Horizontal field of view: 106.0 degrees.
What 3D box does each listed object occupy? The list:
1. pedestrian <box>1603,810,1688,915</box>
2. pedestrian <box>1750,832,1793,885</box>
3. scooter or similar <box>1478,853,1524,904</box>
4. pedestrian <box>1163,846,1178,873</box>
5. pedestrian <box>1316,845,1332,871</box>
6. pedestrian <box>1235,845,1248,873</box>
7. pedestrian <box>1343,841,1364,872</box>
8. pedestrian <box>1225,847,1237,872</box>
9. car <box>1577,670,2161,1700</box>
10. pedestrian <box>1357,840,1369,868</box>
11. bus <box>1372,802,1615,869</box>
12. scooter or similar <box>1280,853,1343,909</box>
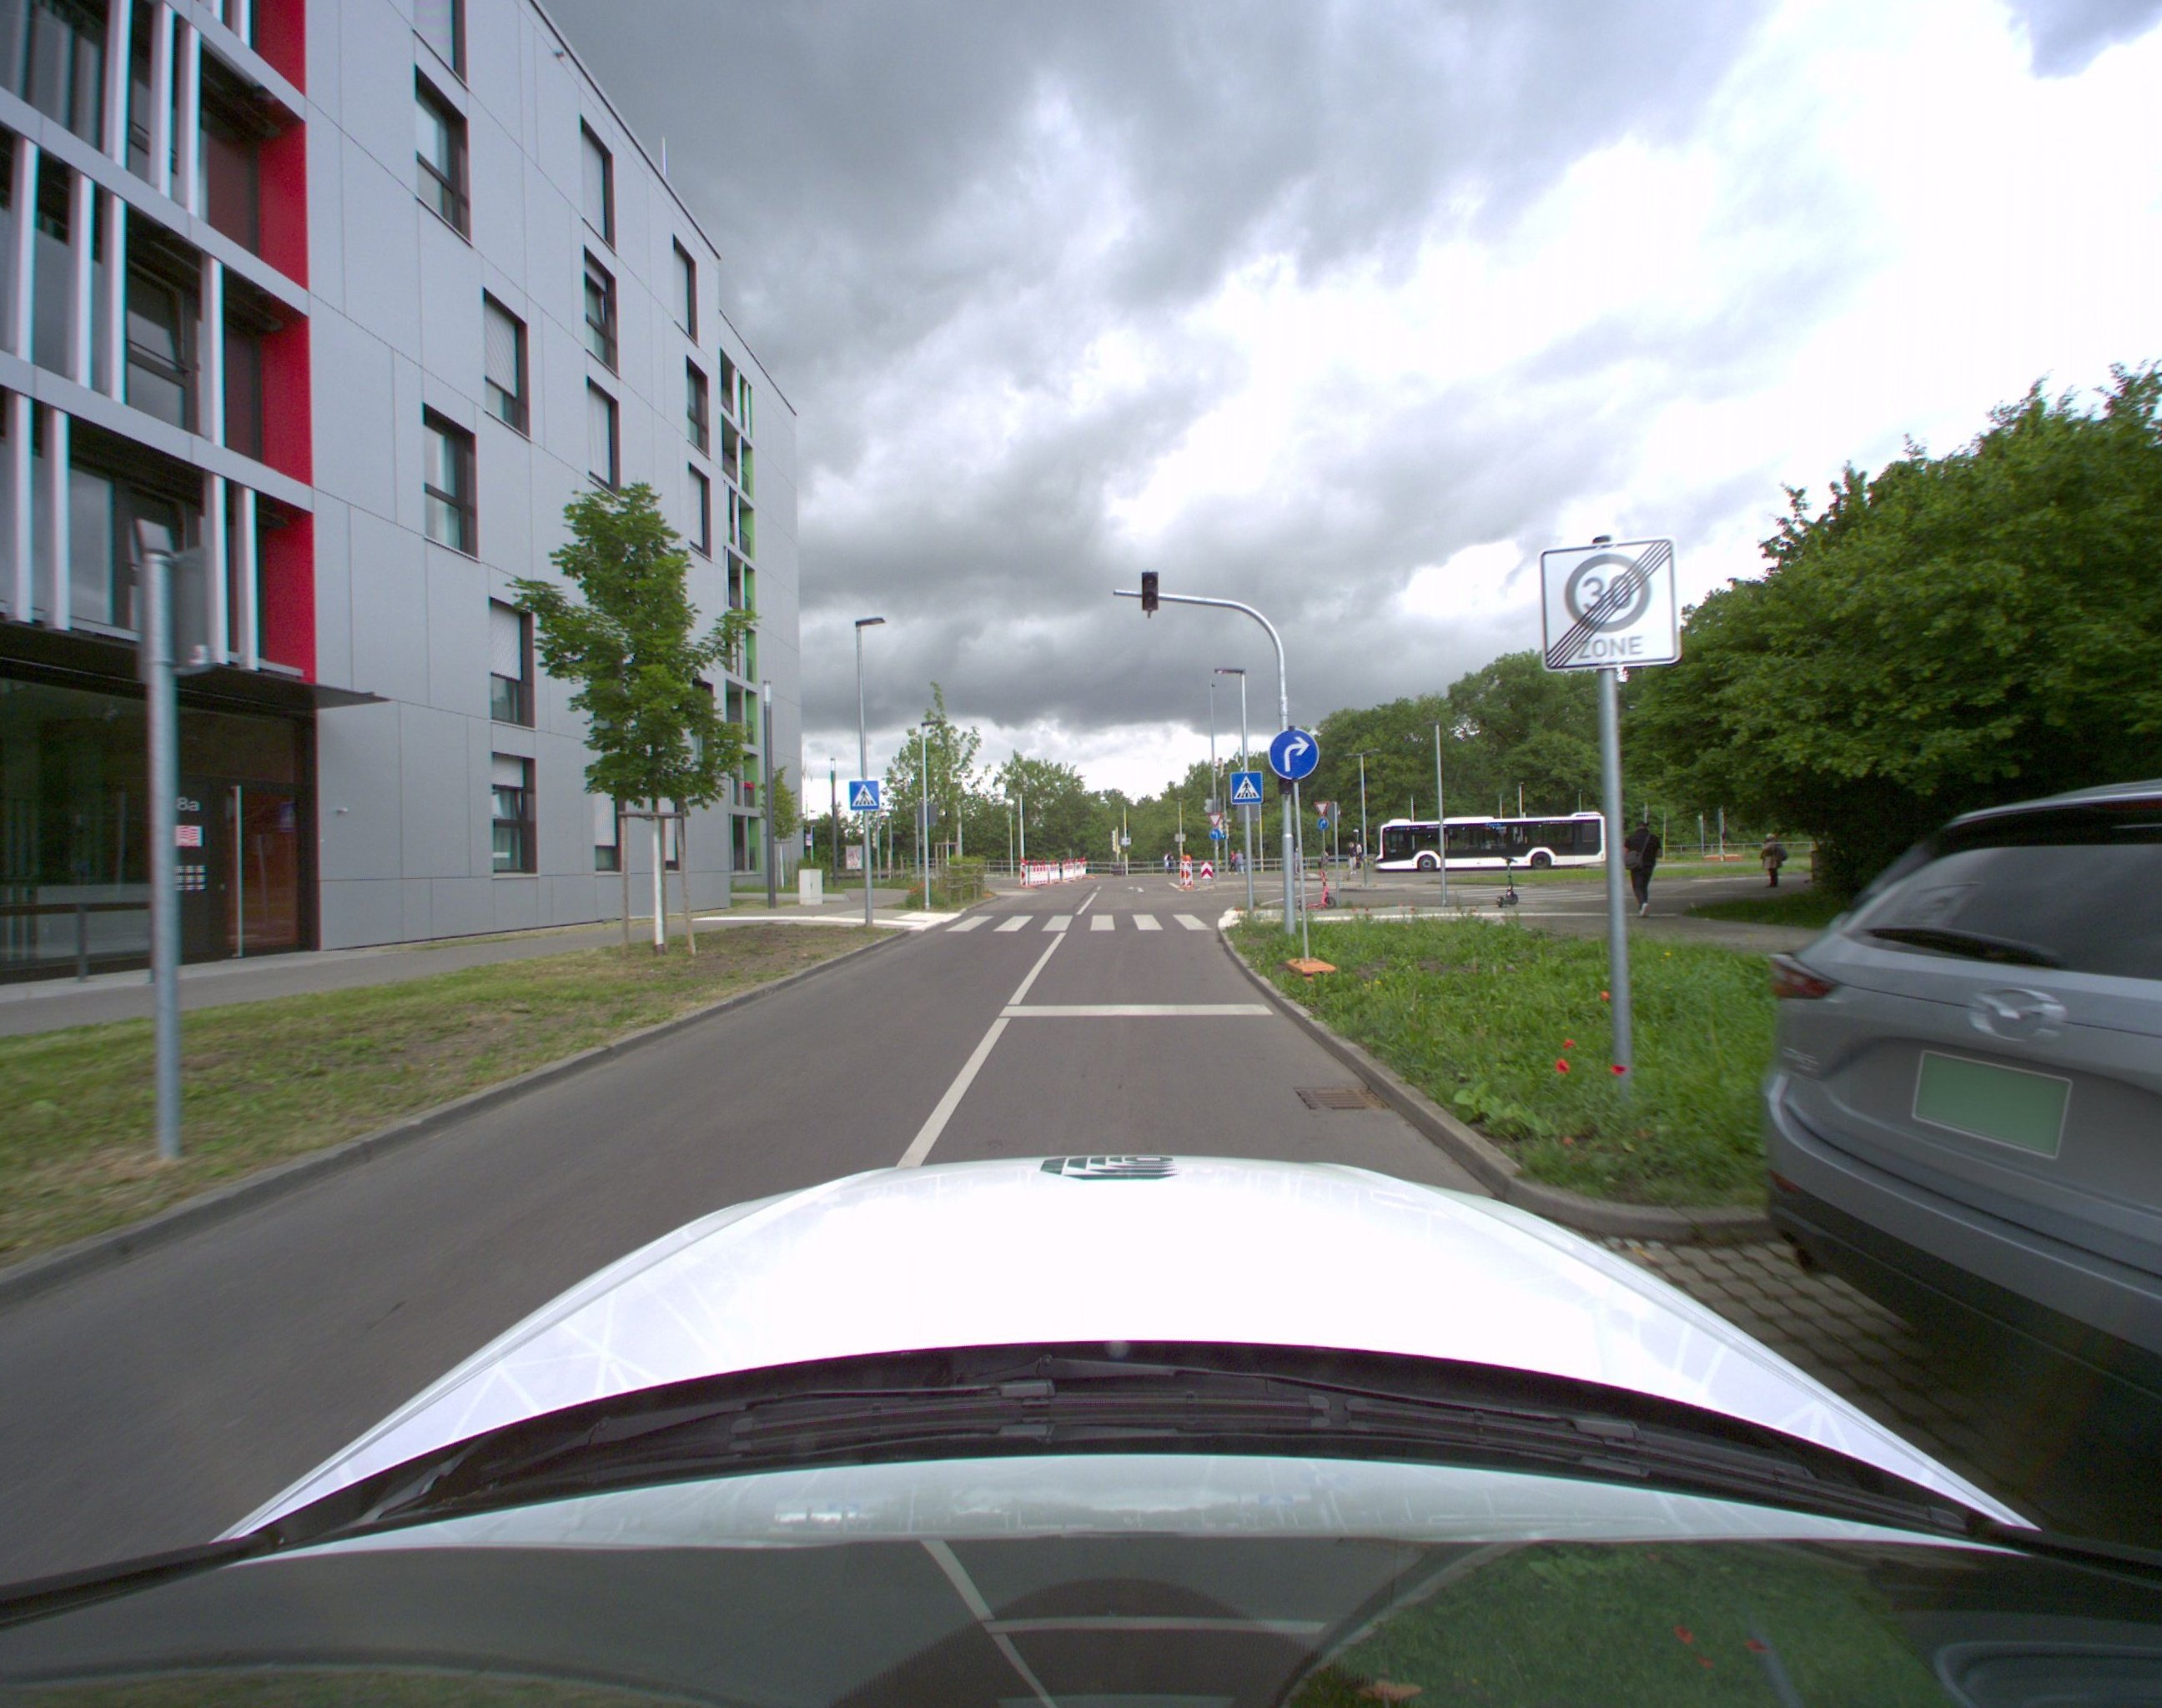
[{"bbox_3d":[10.267,0.144,14.823,0.986,1.822,0.850,-1,-1,-24],"label":"pedestrian"},{"bbox_3d":[21.033,0.130,24.816,0.771,1.594,0.682,-1,-1,-19],"label":"pedestrian"},{"bbox_3d":[10.895,0.629,21.088,0.614,1.275,1.504,-2,-2,45],"label":"scooter or similar"},{"bbox_3d":[5.966,0.351,54.373,0.949,1.747,0.724,-1,0,7],"label":"pedestrian"},{"bbox_3d":[14.627,0.245,49.060,0.683,1.567,0.737,-1,0,32],"label":"pedestrian"},{"bbox_3d":[10.095,0.309,51.129,0.715,1.747,0.961,-1,0,13],"label":"pedestrian"},{"bbox_3d":[15.945,0.133,47.650,0.945,1.747,1.069,-1,0,32],"label":"pedestrian"},{"bbox_3d":[9.875,0.352,53.631,0.715,1.621,0.808,-1,0,13],"label":"pedestrian"},{"bbox_3d":[4.098,0.431,1.881,4.638,1.752,2.068,-4,0,-3],"label":"car"},{"bbox_3d":[17.620,0.007,50.885,0.714,1.747,0.962,-1,0,19],"label":"pedestrian"},{"bbox_3d":[23.182,-0.968,46.595,12.072,3.203,2.685,-2,-1,14],"label":"bus"},{"bbox_3d":[5.697,0.654,20.105,1.530,1.313,0.567,-1,0,-31],"label":"scooter or similar"}]
